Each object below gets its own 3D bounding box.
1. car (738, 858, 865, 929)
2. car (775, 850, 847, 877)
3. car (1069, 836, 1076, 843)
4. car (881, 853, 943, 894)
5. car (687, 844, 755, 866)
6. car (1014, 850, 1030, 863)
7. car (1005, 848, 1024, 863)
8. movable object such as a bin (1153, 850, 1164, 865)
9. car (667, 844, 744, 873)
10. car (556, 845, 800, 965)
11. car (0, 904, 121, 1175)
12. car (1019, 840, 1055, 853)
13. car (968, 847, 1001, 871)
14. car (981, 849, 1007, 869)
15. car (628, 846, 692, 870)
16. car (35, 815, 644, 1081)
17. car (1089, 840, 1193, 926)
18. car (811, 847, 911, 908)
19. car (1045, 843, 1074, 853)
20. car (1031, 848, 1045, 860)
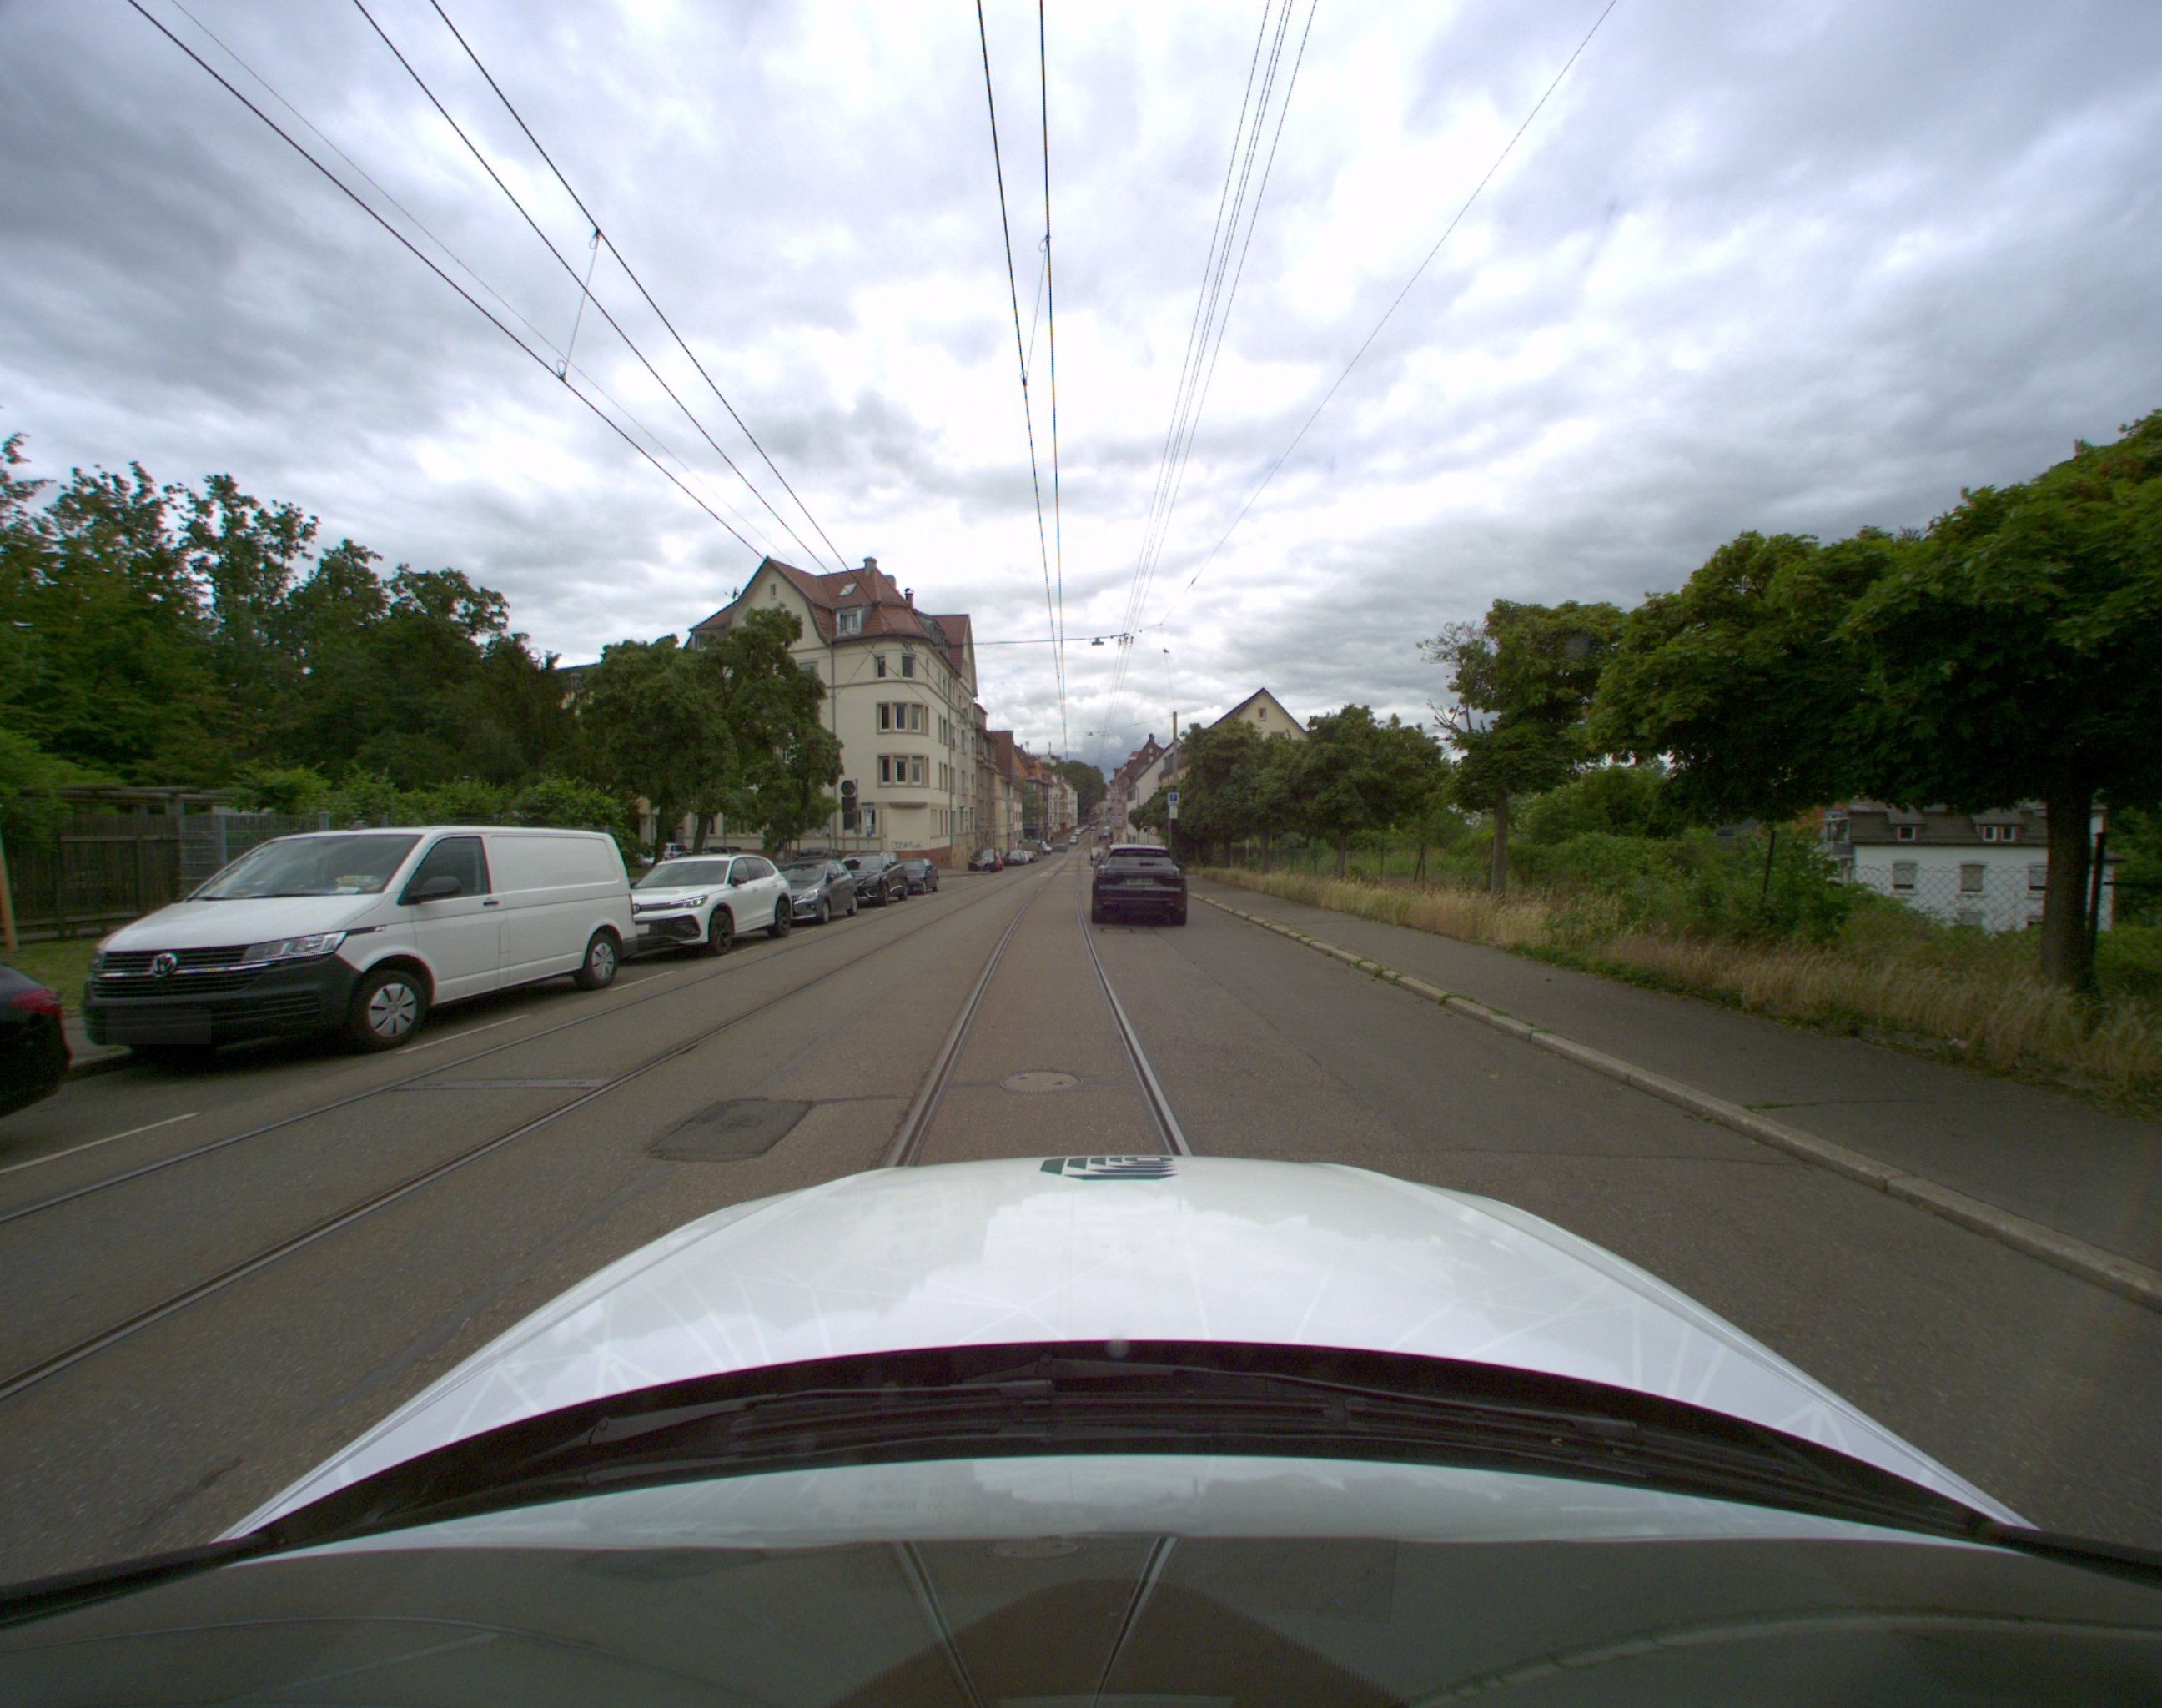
[{"bbox_3d":[-6.561,0.872,19.550,1.733,1.509,3.867,-1,0,-1],"label":"car"},{"bbox_3d":[-16.303,0.528,49.150,3.950,1.571,1.887,0,0,26],"label":"car"},{"bbox_3d":[-2.006,-3.433,194.119,1.745,1.759,4.254,0,0,1],"label":"car"},{"bbox_3d":[-6.616,0.728,32.285,1.616,1.477,4.154,-1,0,-1],"label":"car"},{"bbox_3d":[-23.266,0.057,52.601,3.950,1.354,1.887,0,0,26],"label":"car"},{"bbox_3d":[-6.740,0.303,92.706,1.616,1.463,3.683,-1,0,-1],"label":"car"},{"bbox_3d":[-6.686,0.135,81.857,1.616,1.463,4.031,-1,0,-1],"label":"car"},{"bbox_3d":[6.266,0.300,65.733,0.790,1.218,0.788,0,0,-4],"label":"movable object such as a bin"},{"bbox_3d":[-20.875,0.224,45.255,3.951,1.439,1.771,2,2,26],"label":"car"},{"bbox_3d":[-6.615,0.753,14.088,1.963,1.686,4.630,-1,0,-1],"label":"car"},{"bbox_3d":[-6.566,0.994,2.532,1.835,1.387,4.515,-1,0,-1],"label":"car"},{"bbox_3d":[-8.096,-1.400,149.433,6.221,2.290,2.215,0,0,28],"label":"car"},{"bbox_3d":[-6.771,0.359,57.376,1.862,1.646,4.400,-1,0,-1],"label":"car"},{"bbox_3d":[-6.716,0.419,63.203,1.616,1.463,3.743,-1,0,-1],"label":"car"},{"bbox_3d":[-28.490,0.245,55.095,3.950,1.544,1.771,0,0,26],"label":"car"},{"bbox_3d":[-6.739,0.706,8.379,1.963,1.913,4.732,-1,0,-1],"label":"car"},{"bbox_3d":[1.201,0.569,18.002,1.987,1.676,3.999,0,0,0],"label":"car"},{"bbox_3d":[-6.753,0.686,25.459,1.963,1.686,4.442,-1,0,-1],"label":"car"},{"bbox_3d":[-4.222,-1.156,158.176,5.375,1.704,2.117,0,0,28],"label":"car"},{"bbox_3d":[-5.317,0.050,101.233,1.616,1.473,4.553,-1,0,-1],"label":"car"}]
